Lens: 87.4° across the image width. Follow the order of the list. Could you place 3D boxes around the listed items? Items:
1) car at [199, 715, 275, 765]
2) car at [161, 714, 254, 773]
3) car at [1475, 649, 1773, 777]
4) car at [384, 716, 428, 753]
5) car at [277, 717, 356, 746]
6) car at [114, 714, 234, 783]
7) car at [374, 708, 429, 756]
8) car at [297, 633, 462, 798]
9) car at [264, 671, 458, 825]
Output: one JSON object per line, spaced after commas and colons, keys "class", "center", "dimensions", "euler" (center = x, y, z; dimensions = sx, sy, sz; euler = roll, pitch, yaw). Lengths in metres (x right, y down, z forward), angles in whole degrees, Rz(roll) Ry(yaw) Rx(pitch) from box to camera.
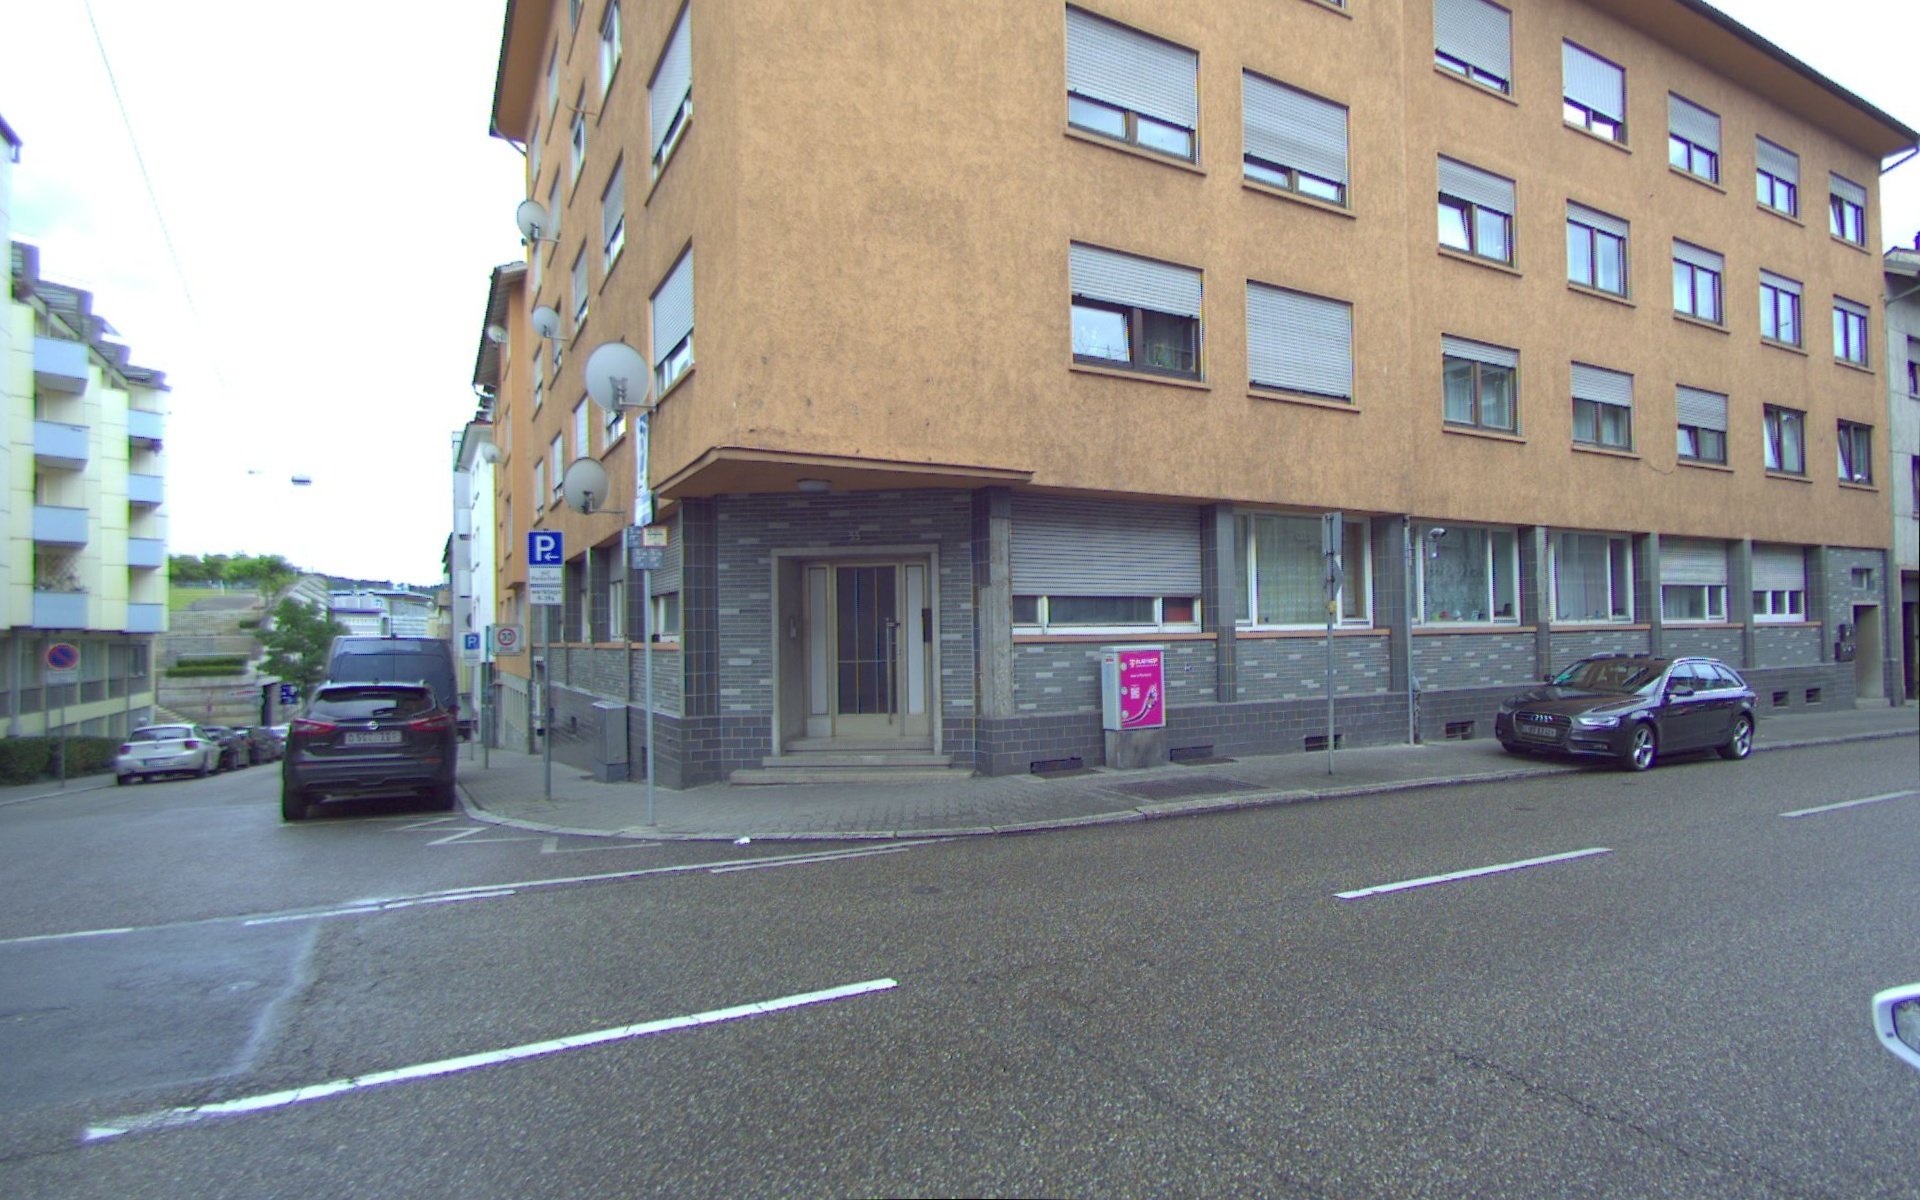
{"class": "car", "center": [-26.307, 5.102, 36.663], "dimensions": [1.727, 1.634, 3.973], "euler": [1, -8, -29]}
{"class": "car", "center": [-23.172, 4.398, 31.059], "dimensions": [1.727, 1.634, 3.973], "euler": [1, -7, -29]}
{"class": "car", "center": [9.556, 1.497, 14.379], "dimensions": [4.474, 1.457, 1.786], "euler": [1, 0, -31]}
{"class": "car", "center": [-25.284, 6.139, 45.861], "dimensions": [1.702, 1.513, 4.026], "euler": [1, -7, -29]}
{"class": "car", "center": [-40.511, 8.266, 63.353], "dimensions": [1.892, 1.696, 4.059], "euler": [-3, -6, 10]}
{"class": "car", "center": [-20.541, 3.849, 26.415], "dimensions": [1.819, 1.566, 3.973], "euler": [1, -7, -29]}
{"class": "car", "center": [-21.781, 5.152, 39.206], "dimensions": [1.796, 1.696, 4.026], "euler": [1, -7, -29]}
{"class": "car", "center": [-10.573, 2.100, 18.514], "dimensions": [2.223, 2.492, 6.017], "euler": [1, -7, -29]}
{"class": "car", "center": [-7.577, 1.847, 12.924], "dimensions": [1.820, 1.596, 4.127], "euler": [1, -7, -29]}
